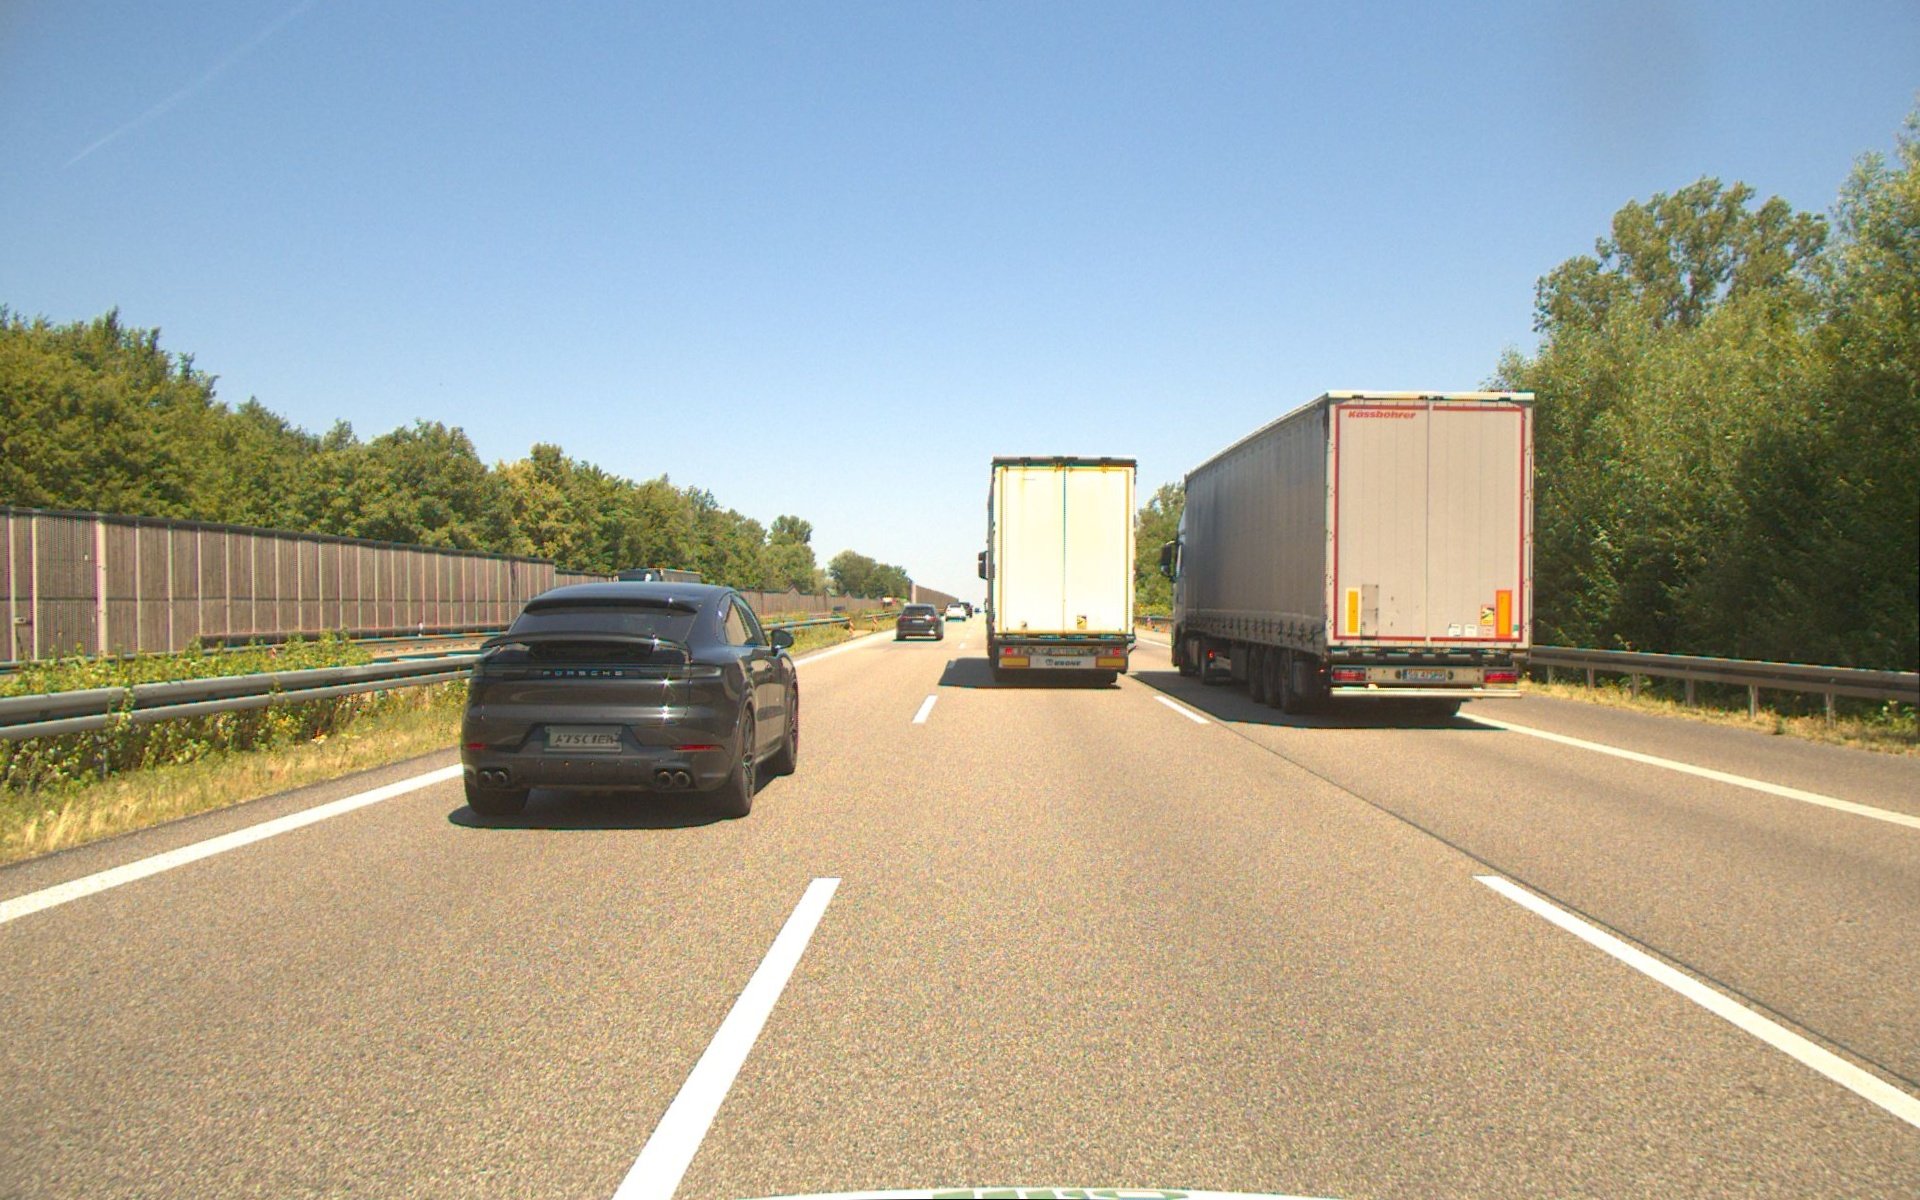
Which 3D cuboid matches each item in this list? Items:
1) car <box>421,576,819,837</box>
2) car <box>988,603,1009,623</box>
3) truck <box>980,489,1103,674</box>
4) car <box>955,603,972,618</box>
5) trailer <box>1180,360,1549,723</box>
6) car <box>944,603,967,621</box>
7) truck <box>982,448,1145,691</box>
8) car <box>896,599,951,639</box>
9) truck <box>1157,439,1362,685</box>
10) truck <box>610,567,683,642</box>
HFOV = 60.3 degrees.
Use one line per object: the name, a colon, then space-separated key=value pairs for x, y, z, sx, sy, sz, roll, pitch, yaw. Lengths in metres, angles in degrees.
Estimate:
car: x=-2.427 y=0.678 z=13.484 sx=2.002 sy=1.653 sz=5.772 roll=0 pitch=0 yaw=0
car: x=3.423 y=1.159 z=146.963 sx=1.817 sy=1.645 sz=4.001 roll=-2 pitch=0 yaw=2
truck: x=1.910 y=-0.416 z=41.368 sx=2.672 sy=4.157 sz=7.277 roll=-1 pitch=0 yaw=0
car: x=0.380 y=1.191 z=186.463 sx=1.818 sy=1.645 sz=3.999 roll=-2 pitch=0 yaw=-1
trailer: x=5.713 y=-0.678 z=26.406 sx=2.648 sy=4.289 sz=13.211 roll=-1 pitch=0 yaw=0
car: x=-0.386 y=1.074 z=146.732 sx=1.817 sy=1.512 sz=4.001 roll=-2 pitch=0 yaw=1
truck: x=1.888 y=-0.501 z=35.519 sx=2.651 sy=4.157 sz=13.473 roll=-1 pitch=0 yaw=0
car: x=-1.480 y=0.748 z=69.148 sx=1.903 sy=1.533 sz=5.822 roll=-2 pitch=0 yaw=2
truck: x=5.760 y=-0.659 z=33.153 sx=2.636 sy=4.289 sz=7.838 roll=-1 pitch=0 yaw=0
truck: x=-18.366 y=0.253 z=97.266 sx=2.672 sy=4.157 sz=7.838 roll=-1 pitch=0 yaw=0
